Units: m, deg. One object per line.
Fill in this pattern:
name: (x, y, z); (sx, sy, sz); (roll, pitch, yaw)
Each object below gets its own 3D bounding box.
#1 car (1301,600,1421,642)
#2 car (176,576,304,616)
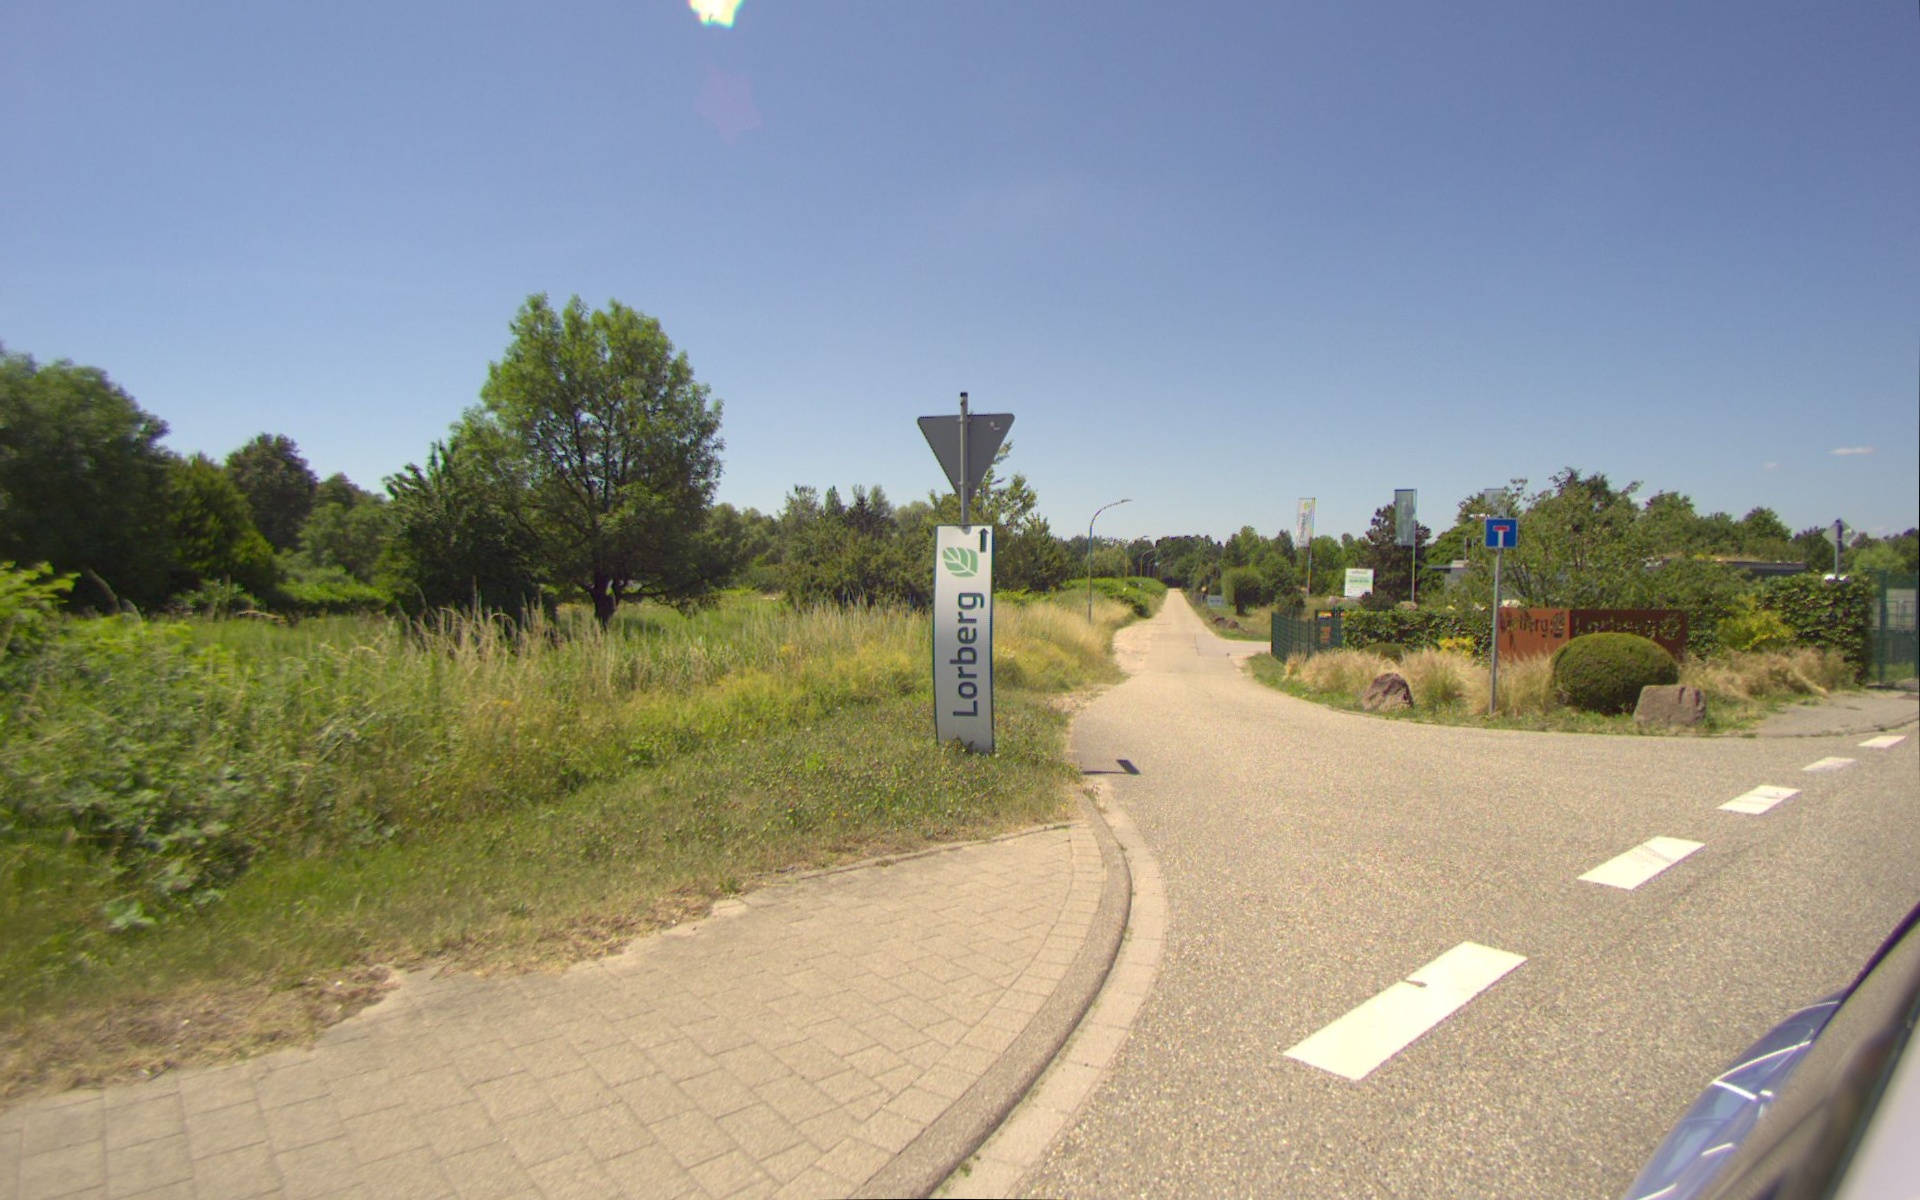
car: (20.300, 1.049, 51.296); (5.459, 2.039, 2.003); (0, -1, -12)
car: (-31.256, -0.211, 44.113); (1.968, 1.644, 4.499); (1, 1, 11)
